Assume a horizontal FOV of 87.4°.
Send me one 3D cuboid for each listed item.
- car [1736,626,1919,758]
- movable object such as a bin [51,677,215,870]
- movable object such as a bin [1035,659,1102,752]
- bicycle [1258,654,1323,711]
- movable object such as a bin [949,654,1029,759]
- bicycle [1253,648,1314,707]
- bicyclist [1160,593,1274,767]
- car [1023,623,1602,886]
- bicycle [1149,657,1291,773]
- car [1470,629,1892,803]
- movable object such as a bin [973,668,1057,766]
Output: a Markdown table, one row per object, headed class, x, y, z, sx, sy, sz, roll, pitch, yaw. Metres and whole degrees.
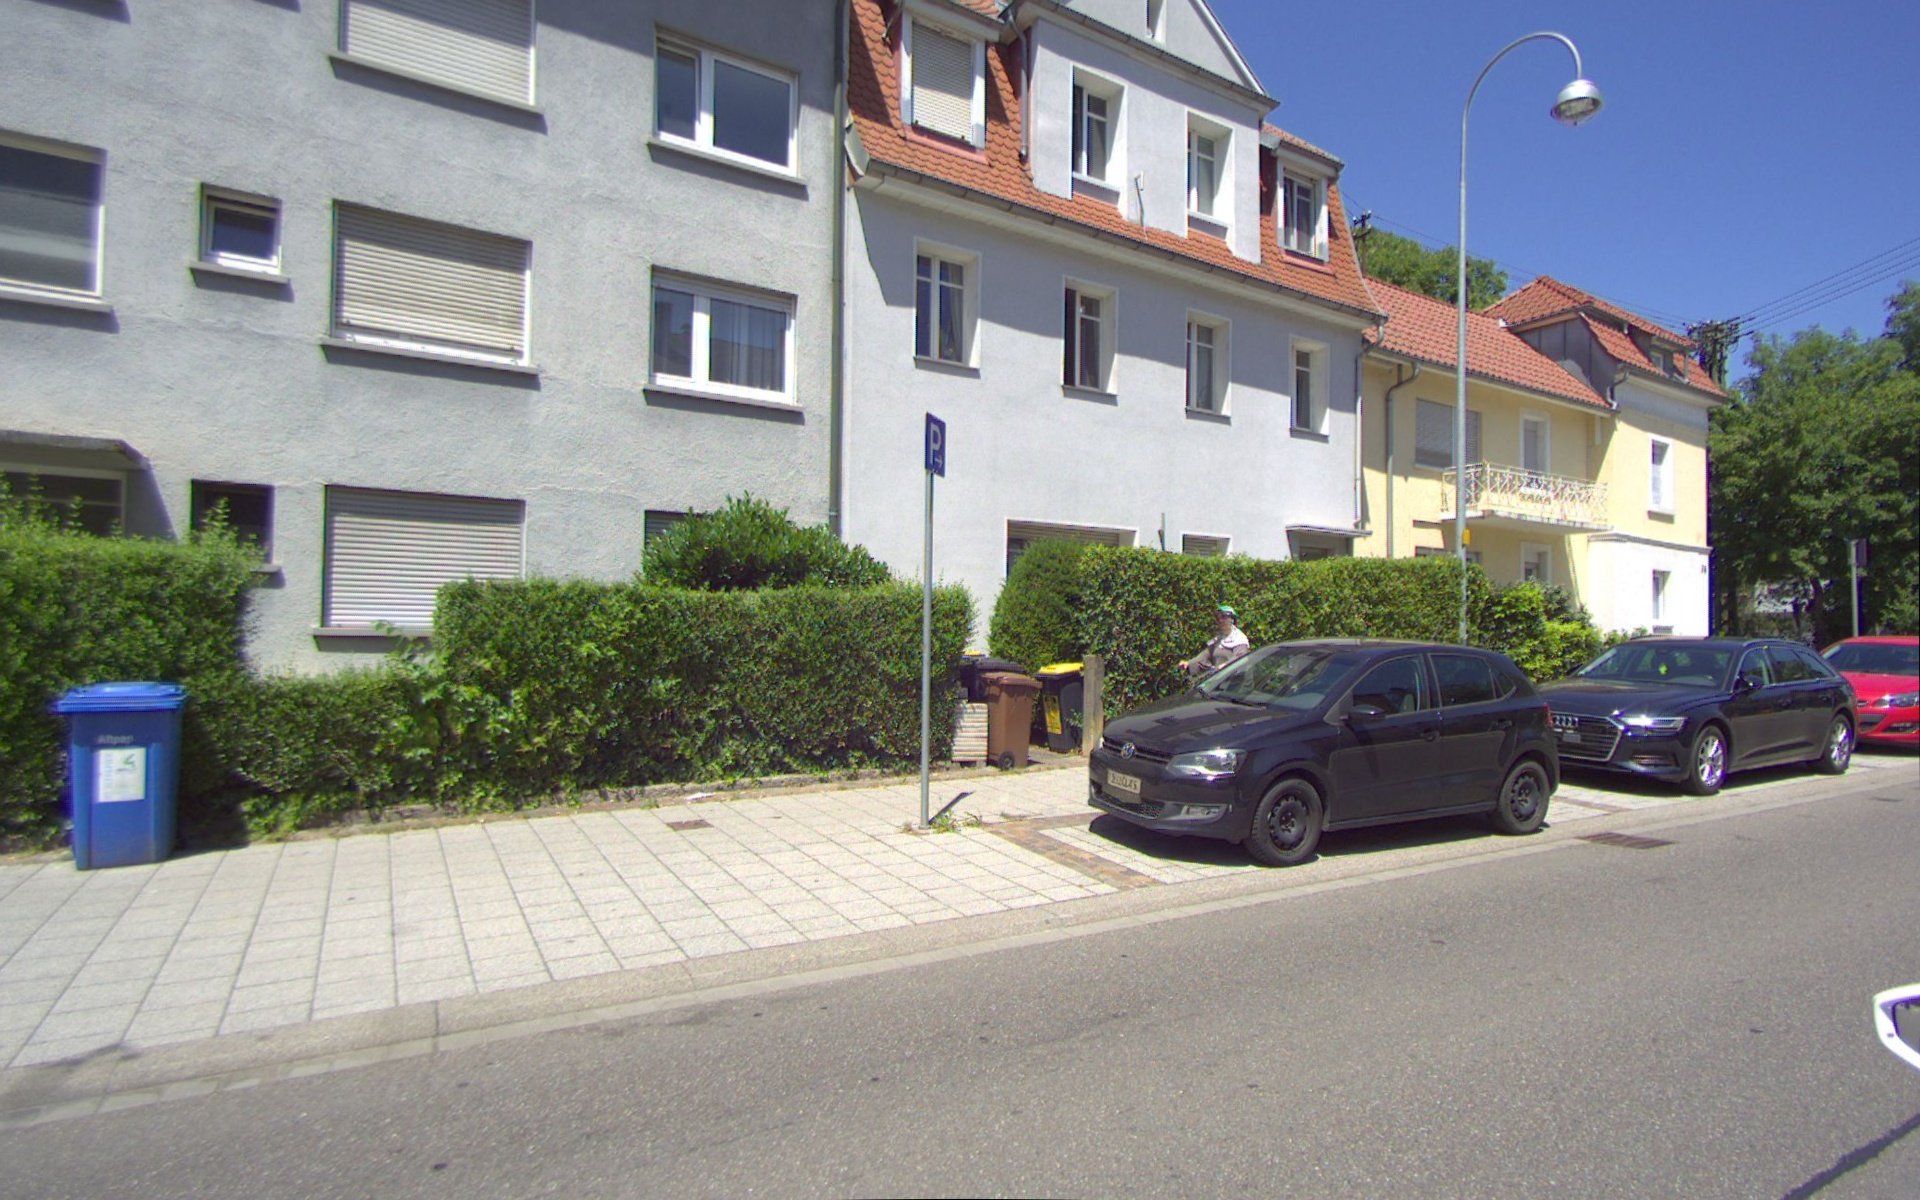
| class | x | y | z | sx | sy | sz | roll | pitch | yaw |
| --- | --- | --- | --- | --- | --- | --- | --- | --- | --- |
| car | 13.116 | 1.182 | 14.098 | 4.682 | 1.499 | 1.868 | 2 | 1 | -30 |
| movable object such as a bin | -5.026 | 1.016 | 6.152 | 0.644 | 1.061 | 0.670 | 1 | -2 | -30 |
| movable object such as a bin | 1.230 | 1.178 | 11.378 | 0.607 | 1.003 | 0.465 | 1 | -2 | -30 |
| bicycle | 5.282 | 1.318 | 16.042 | 1.157 | 0.865 | 0.291 | 3 | -2 | -32 |
| movable object such as a bin | 0.305 | 1.098 | 10.552 | 0.697 | 1.044 | 0.465 | 1 | -2 | -30 |
| bicycle | 5.213 | 1.256 | 16.165 | 1.151 | 0.919 | 0.231 | 3 | -2 | -32 |
| bicyclist | 2.623 | 0.793 | 10.264 | 0.826 | 1.681 | 0.778 | 2 | -2 | -32 |
| car | 2.726 | 0.966 | 7.677 | 4.142 | 1.479 | 1.781 | 1 | 1 | -26 |
| bicycle | 2.695 | 1.150 | 10.366 | 1.497 | 1.098 | 0.553 | 1 | -2 | -33 |
| car | 8.087 | 1.094 | 11.107 | 5.245 | 1.481 | 1.854 | 1 | 0 | -31 |
| movable object such as a bin | 0.553 | 1.161 | 10.154 | 0.697 | 0.924 | 0.492 | 1 | -2 | -30 |
